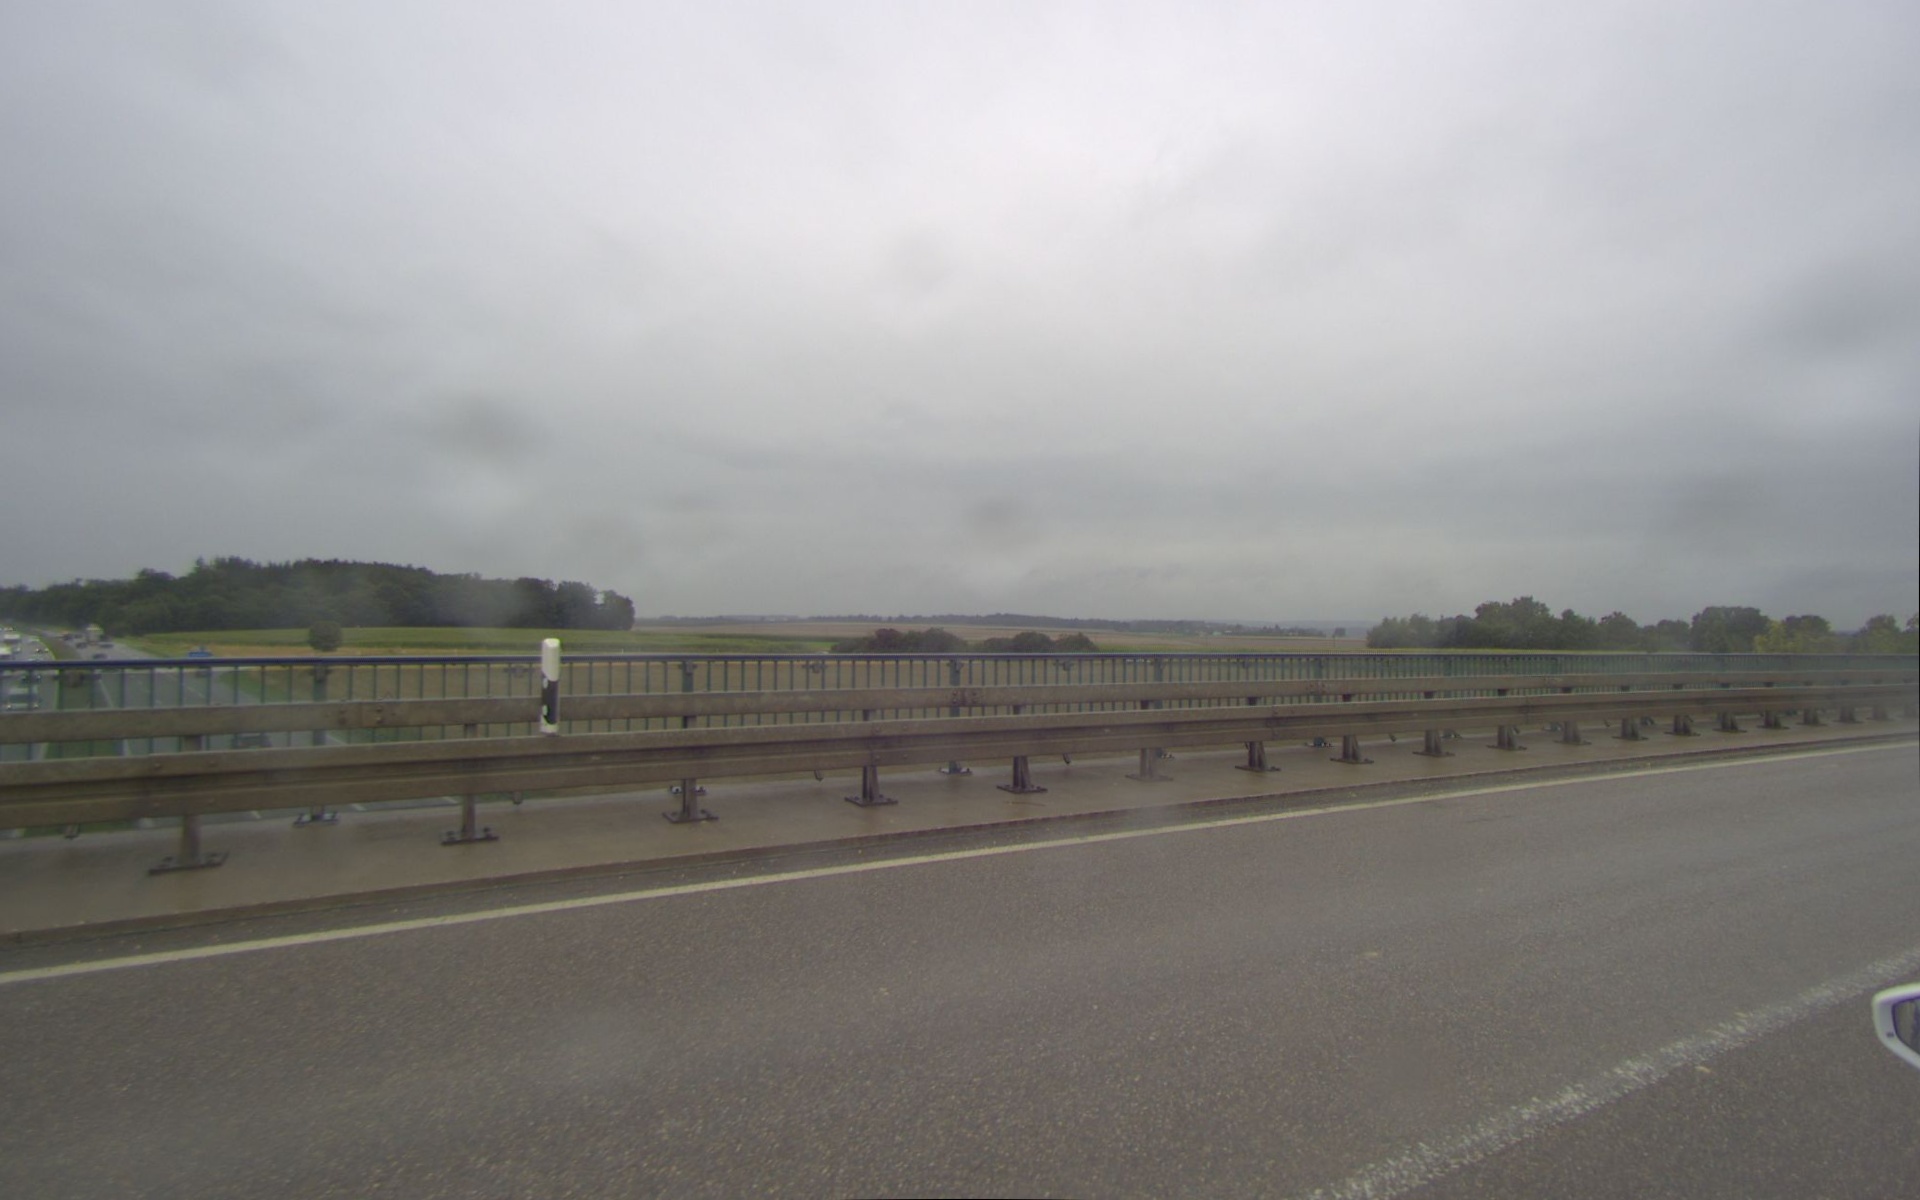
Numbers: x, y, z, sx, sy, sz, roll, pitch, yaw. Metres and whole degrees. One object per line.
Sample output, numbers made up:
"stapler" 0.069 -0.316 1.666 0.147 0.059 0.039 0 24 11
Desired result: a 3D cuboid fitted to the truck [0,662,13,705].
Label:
"truck" -99.878 8.703 103.364 2.218 3.749 9.750 0 2 -36
